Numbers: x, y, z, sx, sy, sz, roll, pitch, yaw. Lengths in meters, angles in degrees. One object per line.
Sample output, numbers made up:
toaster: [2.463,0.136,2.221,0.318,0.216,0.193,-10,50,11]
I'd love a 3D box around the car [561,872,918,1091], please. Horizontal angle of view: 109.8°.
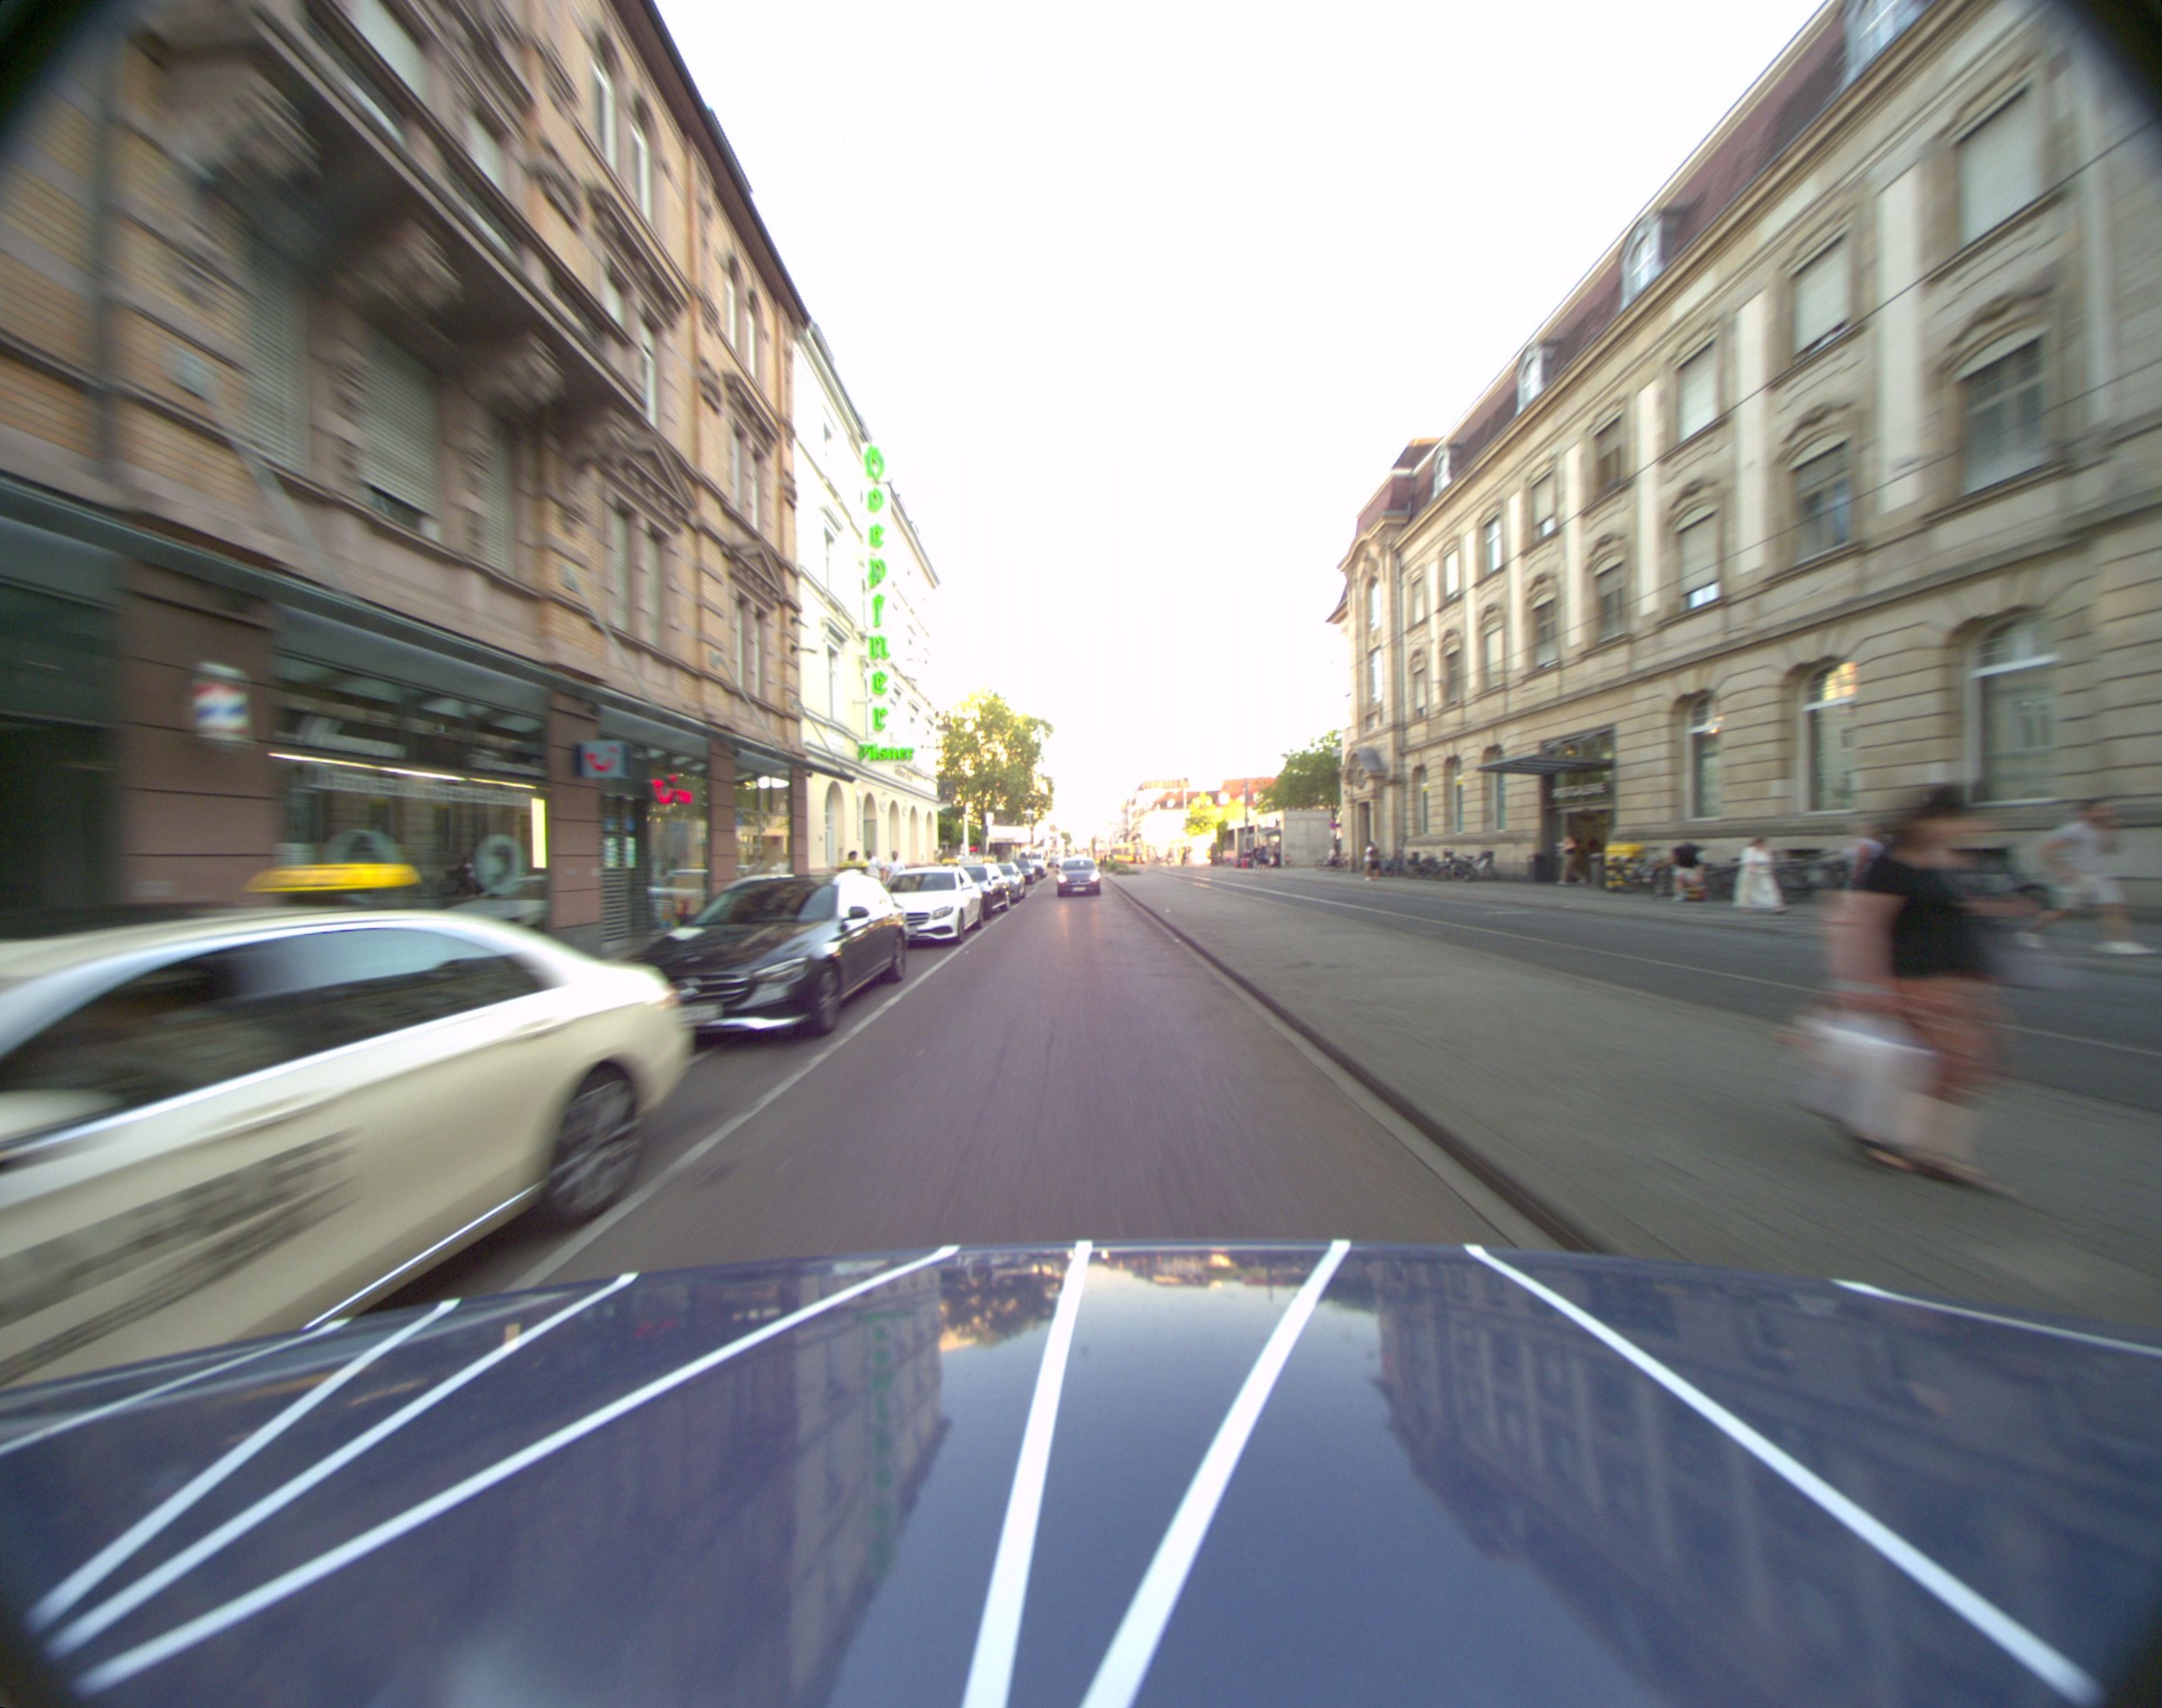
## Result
car: [-3.205,1.061,8.402,1.730,1.468,4.819,-3,1,0]

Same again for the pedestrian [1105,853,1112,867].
pedestrian: [3.169,0.659,86.400,0.638,1.616,0.519,-2,2,-11]

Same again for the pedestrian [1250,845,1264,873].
pedestrian: [10.972,0.301,47.401,0.650,1.726,0.594,0,1,-9]

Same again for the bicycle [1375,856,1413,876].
bicycle: [14.911,0.572,36.246,1.579,0.869,0.451,-2,1,5]

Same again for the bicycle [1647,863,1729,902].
bicycle: [14.936,0.690,18.710,1.579,0.869,0.451,-2,1,5]

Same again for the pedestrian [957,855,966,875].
pedestrian: [-7.792,0.695,49.561,0.532,1.289,0.491,-1,1,0]

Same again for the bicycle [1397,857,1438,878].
bicycle: [15.060,0.598,34.030,1.579,0.869,0.451,-2,1,5]

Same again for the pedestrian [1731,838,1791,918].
pedestrian: [12.607,0.437,14.099,0.693,1.458,0.557,-1,1,26]

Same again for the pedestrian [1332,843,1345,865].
pedestrian: [18.308,-0.005,54.033,0.661,1.553,0.679,-2,1,-4]

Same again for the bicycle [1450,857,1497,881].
bicycle: [15.498,0.577,29.989,1.579,0.869,0.451,-2,1,5]

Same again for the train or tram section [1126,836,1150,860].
train or tram section: [9.293,-0.965,125.779,2.902,3.664,13.480,-2,0,0]

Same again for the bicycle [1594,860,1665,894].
bicycle: [15.173,0.633,21.026,1.579,0.869,0.451,-2,1,5]

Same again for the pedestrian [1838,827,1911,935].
pedestrian: [11.866,0.387,11.365,0.663,1.553,0.678,-2,1,-38]

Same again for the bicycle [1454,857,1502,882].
bicycle: [15.290,0.597,29.271,1.579,0.869,0.451,-2,1,5]

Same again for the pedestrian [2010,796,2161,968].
pedestrian: [11.215,0.294,8.474,0.694,1.802,0.814,-2,1,-1]

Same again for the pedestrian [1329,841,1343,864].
pedestrian: [17.685,-0.099,52.737,0.661,1.553,0.679,-2,1,-4]

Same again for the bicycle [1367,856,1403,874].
bicycle: [15.220,0.552,38.096,1.579,0.869,0.451,-2,1,5]

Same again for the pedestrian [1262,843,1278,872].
pedestrian: [11.668,0.213,46.959,0.678,1.726,0.678,0,1,-38]

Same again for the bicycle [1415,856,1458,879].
bicycle: [14.913,0.575,31.894,1.579,0.869,0.451,-2,1,5]

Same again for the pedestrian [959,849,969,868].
pedestrian: [-7.988,0.307,51.898,0.532,1.289,0.490,-2,1,-15]

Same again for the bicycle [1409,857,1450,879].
bicycle: [15.239,0.620,33.250,1.579,0.869,0.451,-2,1,5]

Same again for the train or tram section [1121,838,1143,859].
train or tram section: [9.204,-0.937,138.455,2.902,3.664,11.982,-2,0,0]

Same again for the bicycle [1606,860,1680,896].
bicycle: [15.110,0.644,20.441,1.579,0.869,0.451,-2,1,5]

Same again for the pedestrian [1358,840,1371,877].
pedestrian: [12.628,0.190,33.878,0.375,1.622,0.494,-2,2,34]

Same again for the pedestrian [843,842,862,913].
pedestrian: [-5.740,0.585,19.101,0.374,1.758,0.455,1,1,-4]

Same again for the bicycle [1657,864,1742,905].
bicycle: [14.591,0.717,17.948,1.579,0.869,0.451,-2,1,5]

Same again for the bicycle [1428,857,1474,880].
bicycle: [15.041,0.584,30.900,1.579,0.869,0.451,-2,1,5]

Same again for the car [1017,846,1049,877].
car: [-3.321,0.484,52.964,1.857,2.055,5.214,-1,1,0]

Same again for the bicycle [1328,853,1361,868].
bicycle: [16.639,0.408,47.980,1.840,0.863,0.635,-3,1,-2]

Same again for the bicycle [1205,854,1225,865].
bicycle: [15.415,0.635,87.269,2.131,1.153,0.692,-2,1,1]

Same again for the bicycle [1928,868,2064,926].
bicycle: [15.101,0.704,12.561,1.579,0.869,0.451,-2,1,5]

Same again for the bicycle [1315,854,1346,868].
bicycle: [16.663,0.482,50.762,1.840,0.863,0.635,-3,1,-2]

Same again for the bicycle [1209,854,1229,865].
bicycle: [15.556,0.655,85.532,2.131,1.153,0.692,-2,1,1]

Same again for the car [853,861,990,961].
car: [-3.046,1.007,15.588,1.737,1.502,4.864,-4,1,0]

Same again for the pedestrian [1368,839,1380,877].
pedestrian: [12.984,0.177,33.672,0.375,1.664,0.494,-2,2,33]

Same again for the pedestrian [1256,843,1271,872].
pedestrian: [11.158,0.208,46.456,0.484,1.726,0.678,-1,1,-43]

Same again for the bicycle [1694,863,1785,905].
bicycle: [14.894,0.684,17.209,1.579,0.869,0.451,-2,1,5]

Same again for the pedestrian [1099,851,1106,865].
pedestrian: [2.456,0.446,87.576,0.638,1.616,0.519,-2,2,-11]

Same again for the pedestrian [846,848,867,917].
pedestrian: [-5.828,0.727,19.759,0.374,1.758,0.663,1,1,-4]

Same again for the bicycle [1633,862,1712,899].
bicycle: [15.043,0.665,19.345,1.579,0.869,0.451,-2,1,5]

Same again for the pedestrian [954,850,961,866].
pedestrian: [-10.210,0.355,62.750,0.490,1.289,0.532,-1,1,0]

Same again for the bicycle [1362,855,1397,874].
bicycle: [15.188,0.545,38.635,1.579,0.869,0.451,-2,1,5]

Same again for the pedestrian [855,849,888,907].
pedestrian: [-6.179,0.698,22.437,0.761,1.679,0.551,3,1,-1]

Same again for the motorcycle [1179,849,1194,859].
motorcycle: [13.212,-0.017,94.848,0.807,1.230,1.775,-3,1,-34]

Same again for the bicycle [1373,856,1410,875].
bicycle: [15.193,0.567,37.176,1.579,0.869,0.451,-2,1,5]

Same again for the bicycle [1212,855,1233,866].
bicycle: [15.613,0.676,83.913,2.131,1.153,0.692,-2,1,1]

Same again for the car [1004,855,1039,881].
car: [-3.370,0.775,43.898,1.701,1.382,4.546,0,1,0]

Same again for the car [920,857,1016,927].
car: [-3.067,0.988,21.538,1.737,1.581,4.442,-3,1,3]

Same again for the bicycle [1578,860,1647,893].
bicycle: [15.142,0.634,21.673,1.579,0.869,0.451,-2,1,5]

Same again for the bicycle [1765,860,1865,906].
bicycle: [15.387,0.607,15.946,1.579,0.869,0.451,-2,1,5]

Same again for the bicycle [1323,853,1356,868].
bicycle: [16.569,0.401,48.704,1.840,0.863,0.635,-3,1,-2]

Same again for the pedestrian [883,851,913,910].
pedestrian: [-5.369,0.773,22.323,0.619,1.679,0.486,3,1,17]

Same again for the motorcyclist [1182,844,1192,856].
motorcyclist: [13.197,-0.514,94.840,0.801,1.431,0.798,-3,2,-34]

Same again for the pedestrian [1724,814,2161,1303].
pedestrian: [3.173,0.625,2.784,0.848,1.492,0.901,-2,1,0]

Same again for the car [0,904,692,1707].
car: [-3.114,1.071,1.851,1.810,1.474,4.777,-4,0,0]

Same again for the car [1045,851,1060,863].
car: [-3.632,0.364,98.127,1.771,1.565,3.999,1,1,0]

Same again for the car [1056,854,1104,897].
car: [-0.048,0.806,30.517,1.738,1.495,3.999,-3,1,0]

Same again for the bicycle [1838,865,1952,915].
bicycle: [15.443,0.682,14.433,1.579,0.869,0.451,-2,1,5]

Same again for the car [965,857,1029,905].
car: [-3.037,0.933,28.398,1.810,1.467,4.692,-3,1,0]
